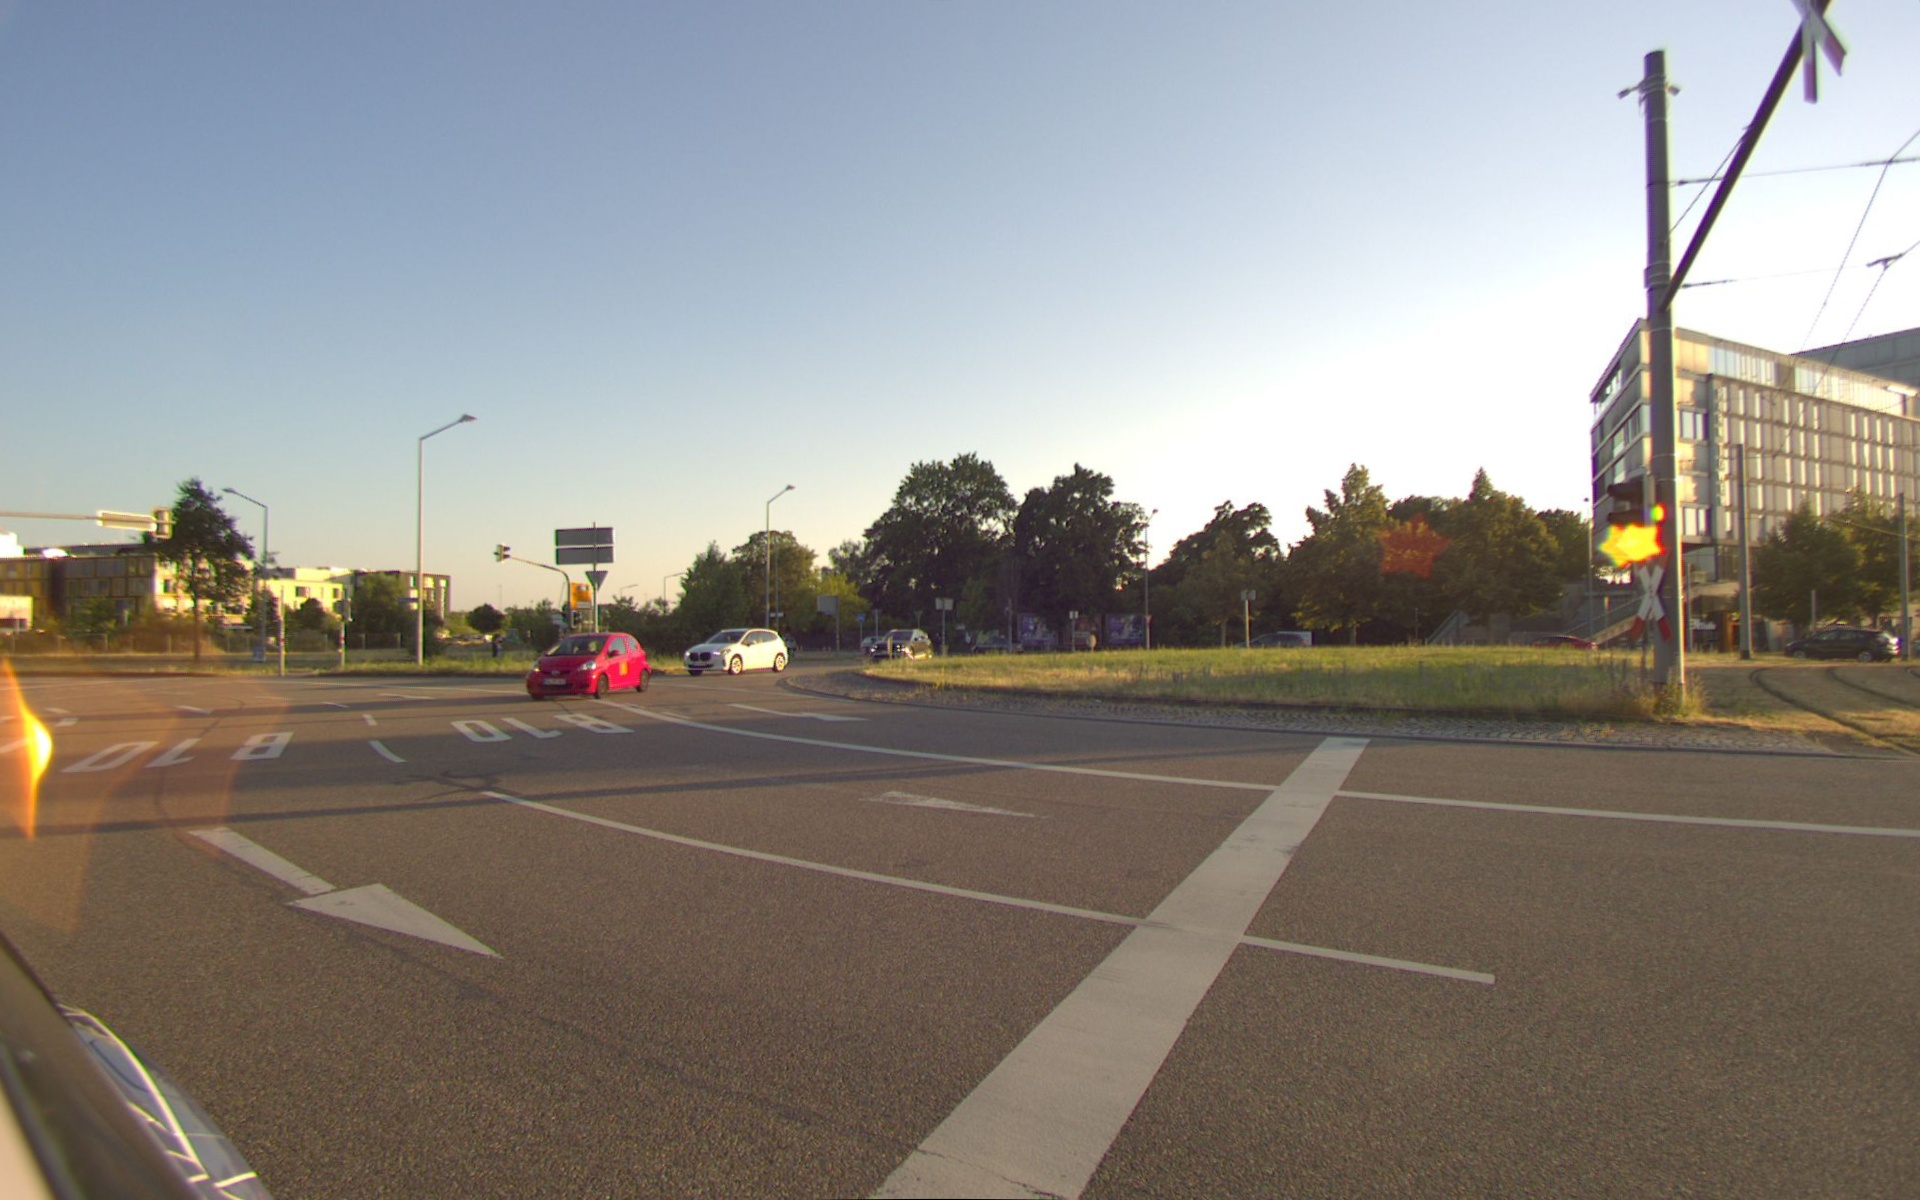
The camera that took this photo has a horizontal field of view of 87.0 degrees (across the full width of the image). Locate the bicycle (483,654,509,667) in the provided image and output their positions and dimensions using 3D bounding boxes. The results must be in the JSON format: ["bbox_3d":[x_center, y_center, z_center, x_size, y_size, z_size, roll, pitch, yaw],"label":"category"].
[{"bbox_3d":[-28.302,3.685,61.740,1.398,0.797,0.474,-1,-3,-3],"label":"bicycle"}]

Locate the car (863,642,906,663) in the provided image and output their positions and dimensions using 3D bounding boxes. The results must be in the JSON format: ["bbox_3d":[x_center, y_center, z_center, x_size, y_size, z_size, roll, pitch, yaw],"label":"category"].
[{"bbox_3d":[-5.844,4.033,78.185,1.810,1.512,4.268,1,-2,-26],"label":"car"}]

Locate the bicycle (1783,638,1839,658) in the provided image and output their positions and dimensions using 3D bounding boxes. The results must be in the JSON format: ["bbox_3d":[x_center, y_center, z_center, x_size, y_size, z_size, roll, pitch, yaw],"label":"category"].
[{"bbox_3d":[50.883,2.848,60.508,0.742,1.176,2.415,1,-3,-36],"label":"bicycle"}]

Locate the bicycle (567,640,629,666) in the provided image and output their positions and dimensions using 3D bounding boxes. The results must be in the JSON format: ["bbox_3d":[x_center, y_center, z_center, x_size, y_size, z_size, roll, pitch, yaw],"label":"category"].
[{"bbox_3d":[-20.541,2.994,57.560,1.118,1.406,3.505,-1,-2,28],"label":"bicycle"}]

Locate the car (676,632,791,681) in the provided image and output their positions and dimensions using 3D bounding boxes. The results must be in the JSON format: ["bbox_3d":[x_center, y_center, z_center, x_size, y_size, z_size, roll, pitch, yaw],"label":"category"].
[{"bbox_3d":[-7.722,1.914,34.859,1.749,1.570,4.181,-2,-3,23],"label":"car"}]

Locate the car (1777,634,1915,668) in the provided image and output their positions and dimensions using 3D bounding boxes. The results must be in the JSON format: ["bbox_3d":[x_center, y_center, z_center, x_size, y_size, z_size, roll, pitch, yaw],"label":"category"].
[{"bbox_3d":[40.697,2.349,46.613,1.911,1.443,4.334,0,-3,-25],"label":"car"}]

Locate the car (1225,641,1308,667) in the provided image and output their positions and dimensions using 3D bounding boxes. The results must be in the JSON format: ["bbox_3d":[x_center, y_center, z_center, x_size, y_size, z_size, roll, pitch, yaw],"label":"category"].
[{"bbox_3d":[18.177,3.210,60.140,4.348,1.443,1.941,-1,-3,5],"label":"car"}]

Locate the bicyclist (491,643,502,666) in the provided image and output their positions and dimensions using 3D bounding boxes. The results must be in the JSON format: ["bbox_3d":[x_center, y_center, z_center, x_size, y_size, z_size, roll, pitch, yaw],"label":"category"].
[{"bbox_3d":[-28.288,3.325,61.749,0.441,1.408,0.474,-1,-3,-3],"label":"bicyclist"}]

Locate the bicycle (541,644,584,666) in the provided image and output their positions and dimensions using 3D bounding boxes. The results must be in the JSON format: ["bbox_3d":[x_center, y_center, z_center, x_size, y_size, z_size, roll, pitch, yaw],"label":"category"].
[{"bbox_3d":[-22.565,3.123,57.445,0.807,1.188,2.306,-2,-3,29],"label":"bicycle"}]

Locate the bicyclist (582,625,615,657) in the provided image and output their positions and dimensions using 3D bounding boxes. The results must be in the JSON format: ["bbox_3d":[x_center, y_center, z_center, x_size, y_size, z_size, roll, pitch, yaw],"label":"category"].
[{"bbox_3d":[-20.556,2.323,57.527,1.119,1.762,1.403,-1,-3,28],"label":"bicyclist"}]

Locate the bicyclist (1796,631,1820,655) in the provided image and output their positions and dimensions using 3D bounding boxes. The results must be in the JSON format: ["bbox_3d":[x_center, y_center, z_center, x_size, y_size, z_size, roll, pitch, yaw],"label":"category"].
[{"bbox_3d":[50.815,2.565,60.638,0.742,1.403,0.881,1,-3,-36],"label":"bicyclist"}]

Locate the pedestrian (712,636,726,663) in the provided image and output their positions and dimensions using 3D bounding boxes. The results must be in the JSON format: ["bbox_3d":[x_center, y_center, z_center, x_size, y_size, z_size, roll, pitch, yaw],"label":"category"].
[{"bbox_3d":[-15.506,3.175,65.113,0.875,1.714,0.722,0,-3,-15],"label":"pedestrian"}]

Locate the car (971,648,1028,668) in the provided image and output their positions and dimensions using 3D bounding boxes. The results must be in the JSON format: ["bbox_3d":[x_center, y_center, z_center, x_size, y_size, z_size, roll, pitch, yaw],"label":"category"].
[{"bbox_3d":[3.050,4.503,78.662,1.915,1.443,4.407,2,-4,-43],"label":"car"}]

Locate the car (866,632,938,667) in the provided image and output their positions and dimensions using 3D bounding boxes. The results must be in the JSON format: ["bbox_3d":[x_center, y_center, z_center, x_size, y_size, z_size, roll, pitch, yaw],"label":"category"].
[{"bbox_3d":[-2.695,2.316,47.904,1.816,1.570,4.183,-2,-3,22],"label":"car"}]

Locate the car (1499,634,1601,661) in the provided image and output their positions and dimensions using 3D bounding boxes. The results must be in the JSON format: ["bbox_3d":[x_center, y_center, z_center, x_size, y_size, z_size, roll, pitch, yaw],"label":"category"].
[{"bbox_3d":[32.585,2.640,55.975,4.590,1.443,1.919,-3,-3,40],"label":"car"}]

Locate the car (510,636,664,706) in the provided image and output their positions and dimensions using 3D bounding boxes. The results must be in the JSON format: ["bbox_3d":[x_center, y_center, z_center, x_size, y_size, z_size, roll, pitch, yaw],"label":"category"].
[{"bbox_3d":[-8.432,1.570,23.296,1.674,1.432,4.203,-1,-2,6],"label":"car"}]

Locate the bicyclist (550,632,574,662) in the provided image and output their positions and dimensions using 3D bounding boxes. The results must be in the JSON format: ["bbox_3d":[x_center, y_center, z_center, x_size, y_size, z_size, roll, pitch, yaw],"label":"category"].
[{"bbox_3d":[-22.581,2.667,57.412,0.807,1.645,0.991,-2,-3,29],"label":"bicyclist"}]
